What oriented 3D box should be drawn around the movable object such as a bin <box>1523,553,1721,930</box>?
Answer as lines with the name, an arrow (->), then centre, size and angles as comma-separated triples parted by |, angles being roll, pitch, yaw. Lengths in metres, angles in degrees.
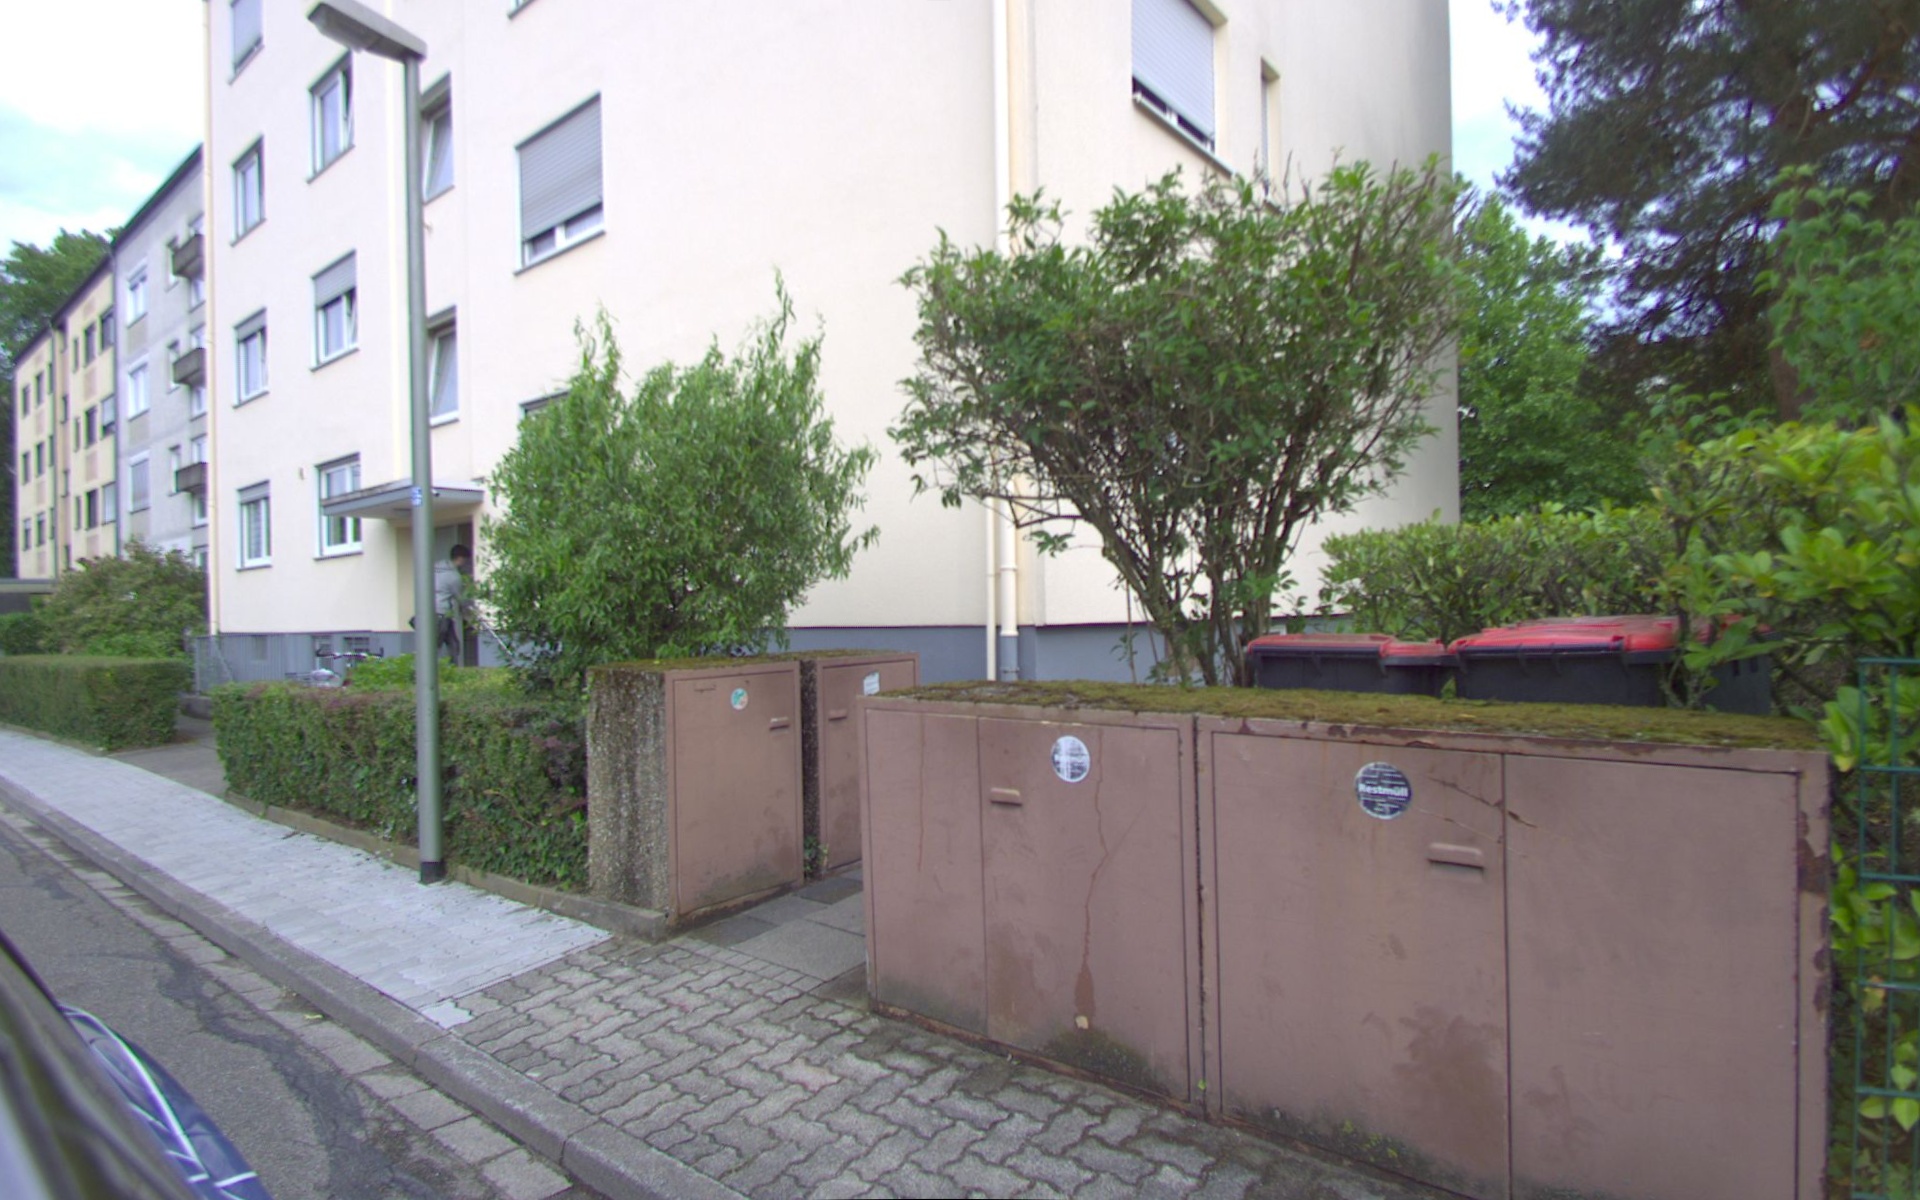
movable object such as a bin -> 2.306, 0.449, 3.522 | 0.515, 1.174, 0.500 | -2, -2, 38

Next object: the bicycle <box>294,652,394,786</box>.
bicycle -> -5.518, 1.021, 9.039 | 1.417, 1.084, 0.315 | -2, 0, 40

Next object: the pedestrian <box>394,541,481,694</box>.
pedestrian -> -6.295, 0.204, 12.185 | 0.756, 1.762, 0.672 | -2, 0, 42

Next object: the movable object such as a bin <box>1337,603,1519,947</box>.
movable object such as a bin -> 1.806, 0.620, 3.900 | 0.515, 1.197, 0.500 | -2, -2, 38

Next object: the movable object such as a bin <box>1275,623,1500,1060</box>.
movable object such as a bin -> 1.334, 0.673, 3.150 | 0.515, 1.197, 0.500 | -2, -2, 38

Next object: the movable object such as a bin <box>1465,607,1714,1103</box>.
movable object such as a bin -> 1.755, 0.626, 2.818 | 0.515, 1.197, 0.500 | -2, -2, 38
